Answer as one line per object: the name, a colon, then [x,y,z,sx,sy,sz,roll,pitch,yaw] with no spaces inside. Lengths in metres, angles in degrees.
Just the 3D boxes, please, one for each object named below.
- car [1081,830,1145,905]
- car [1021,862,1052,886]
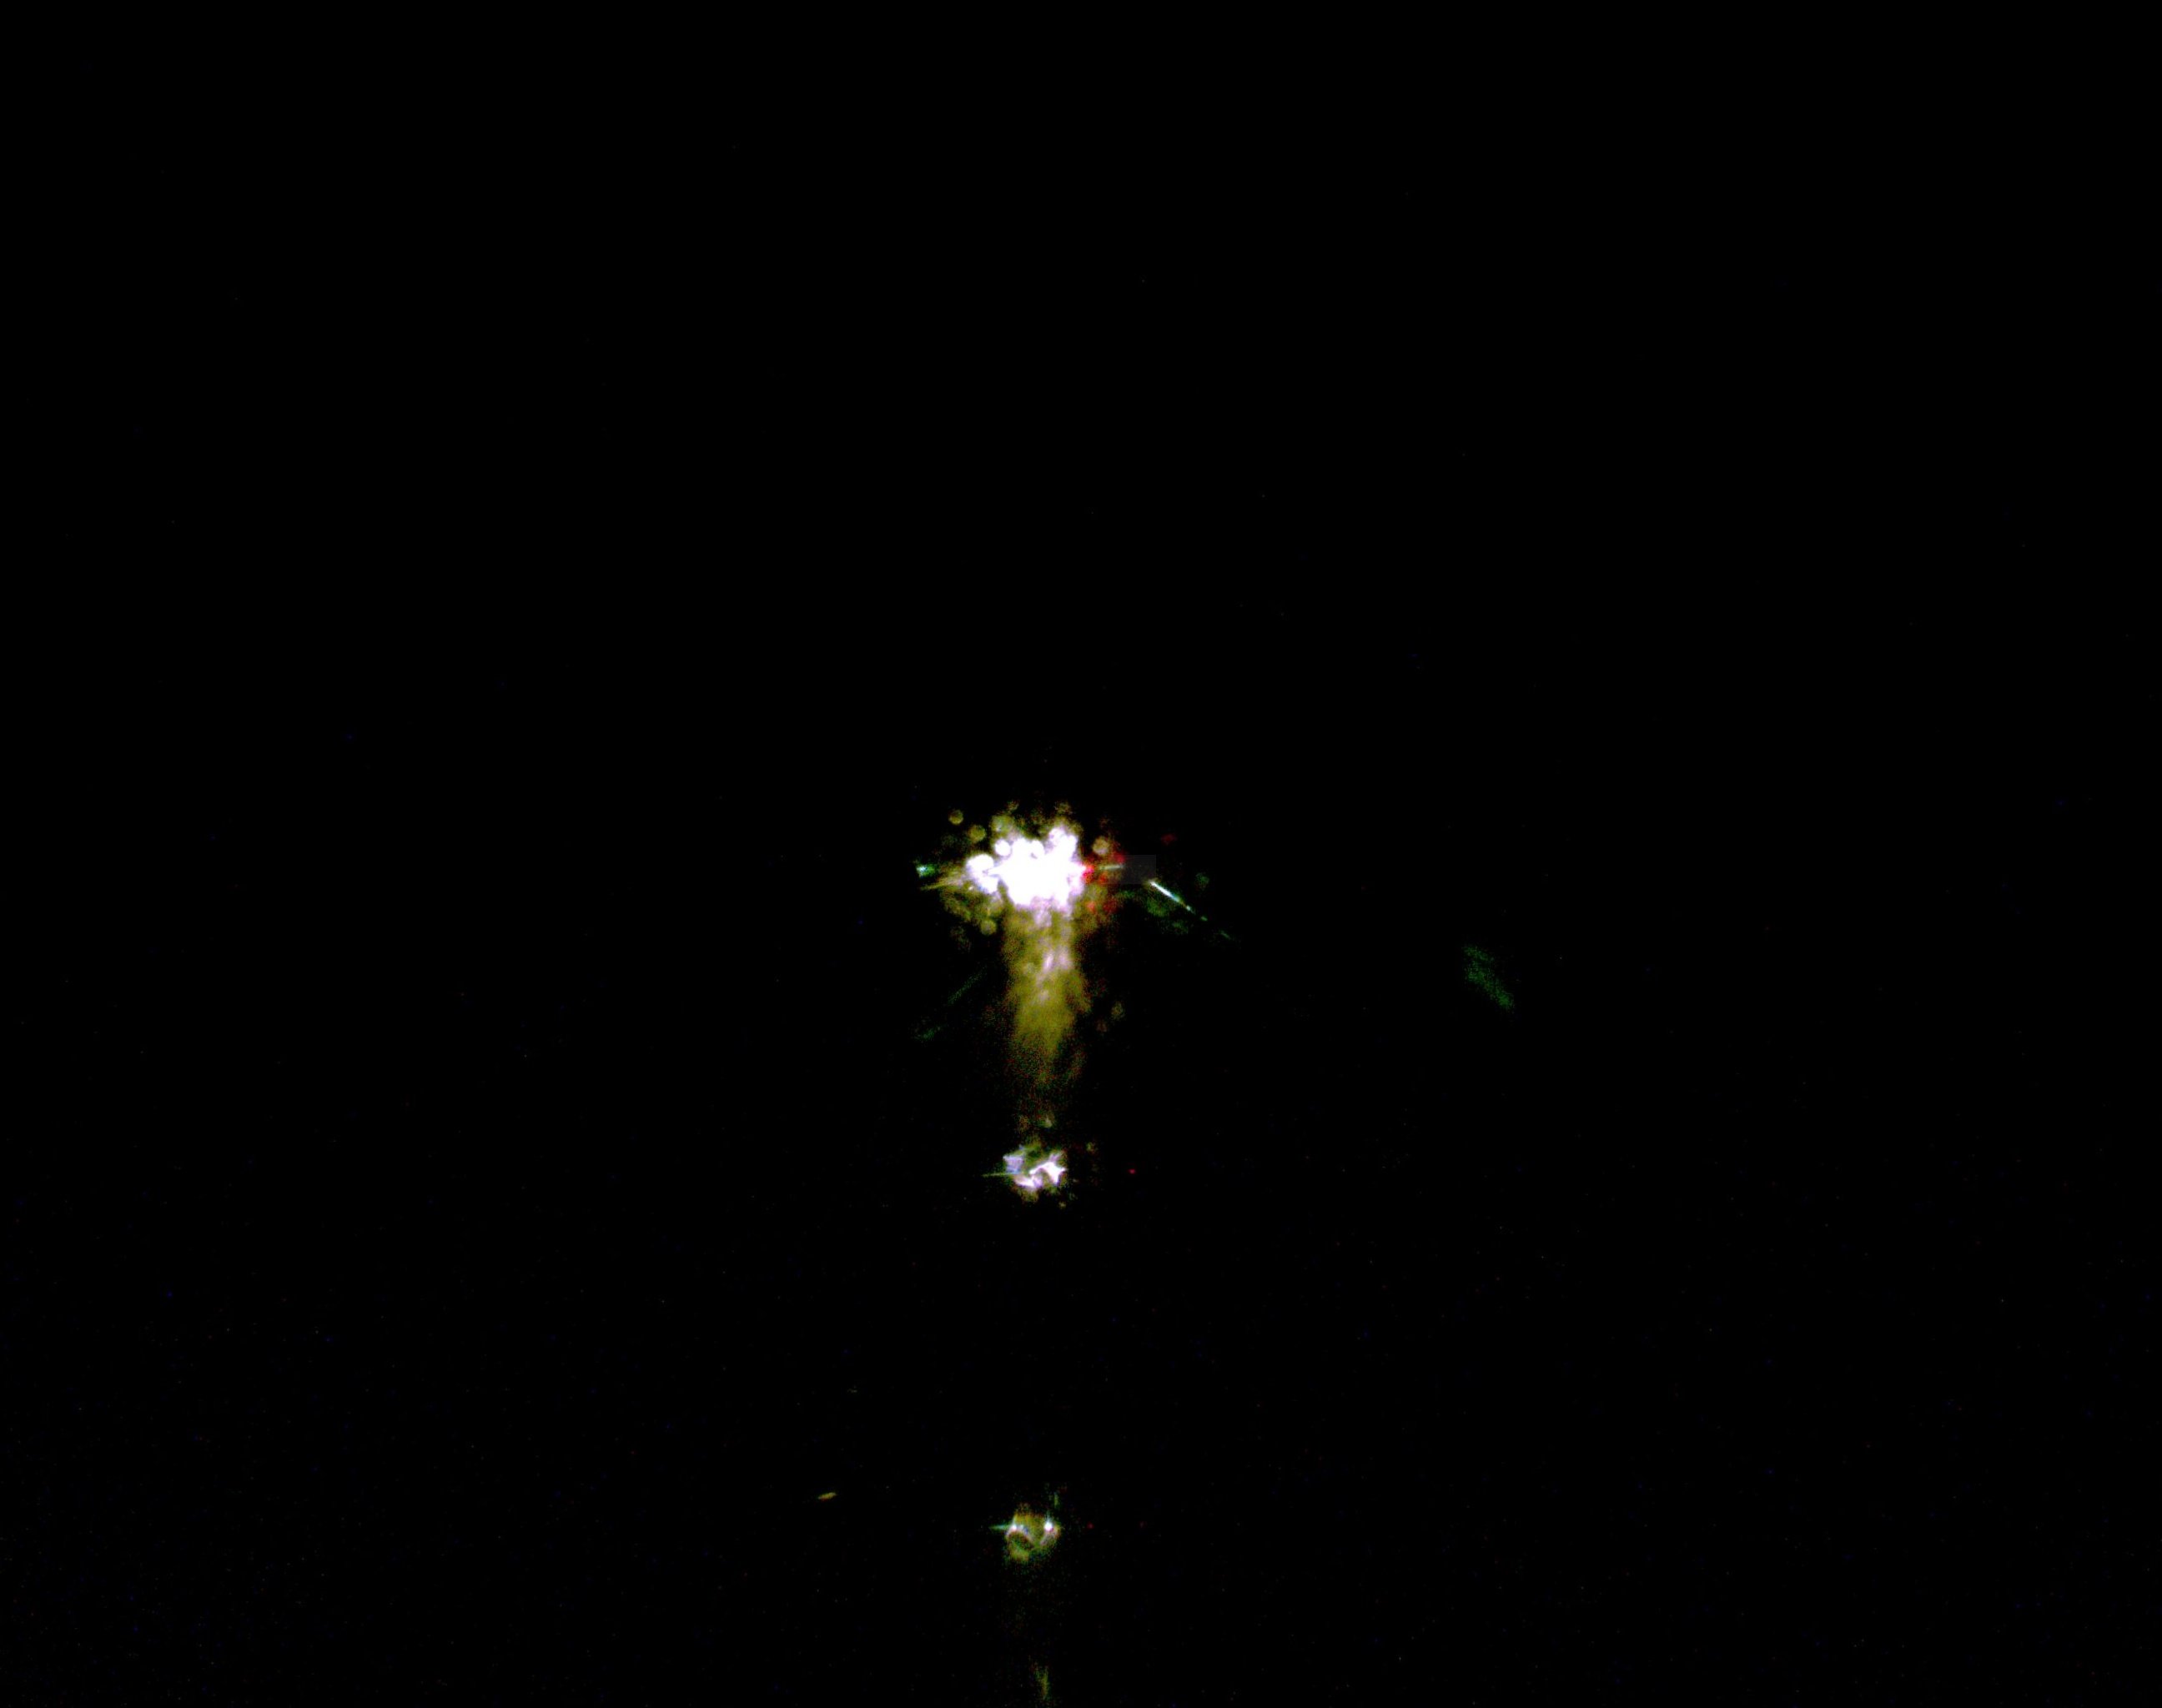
car: [1.156,0.471,29.900,2.173,2.557,4.509,0,0,2]
car: [-2.962,1.294,55.100,1.845,1.489,3.992,-1,0,0]
